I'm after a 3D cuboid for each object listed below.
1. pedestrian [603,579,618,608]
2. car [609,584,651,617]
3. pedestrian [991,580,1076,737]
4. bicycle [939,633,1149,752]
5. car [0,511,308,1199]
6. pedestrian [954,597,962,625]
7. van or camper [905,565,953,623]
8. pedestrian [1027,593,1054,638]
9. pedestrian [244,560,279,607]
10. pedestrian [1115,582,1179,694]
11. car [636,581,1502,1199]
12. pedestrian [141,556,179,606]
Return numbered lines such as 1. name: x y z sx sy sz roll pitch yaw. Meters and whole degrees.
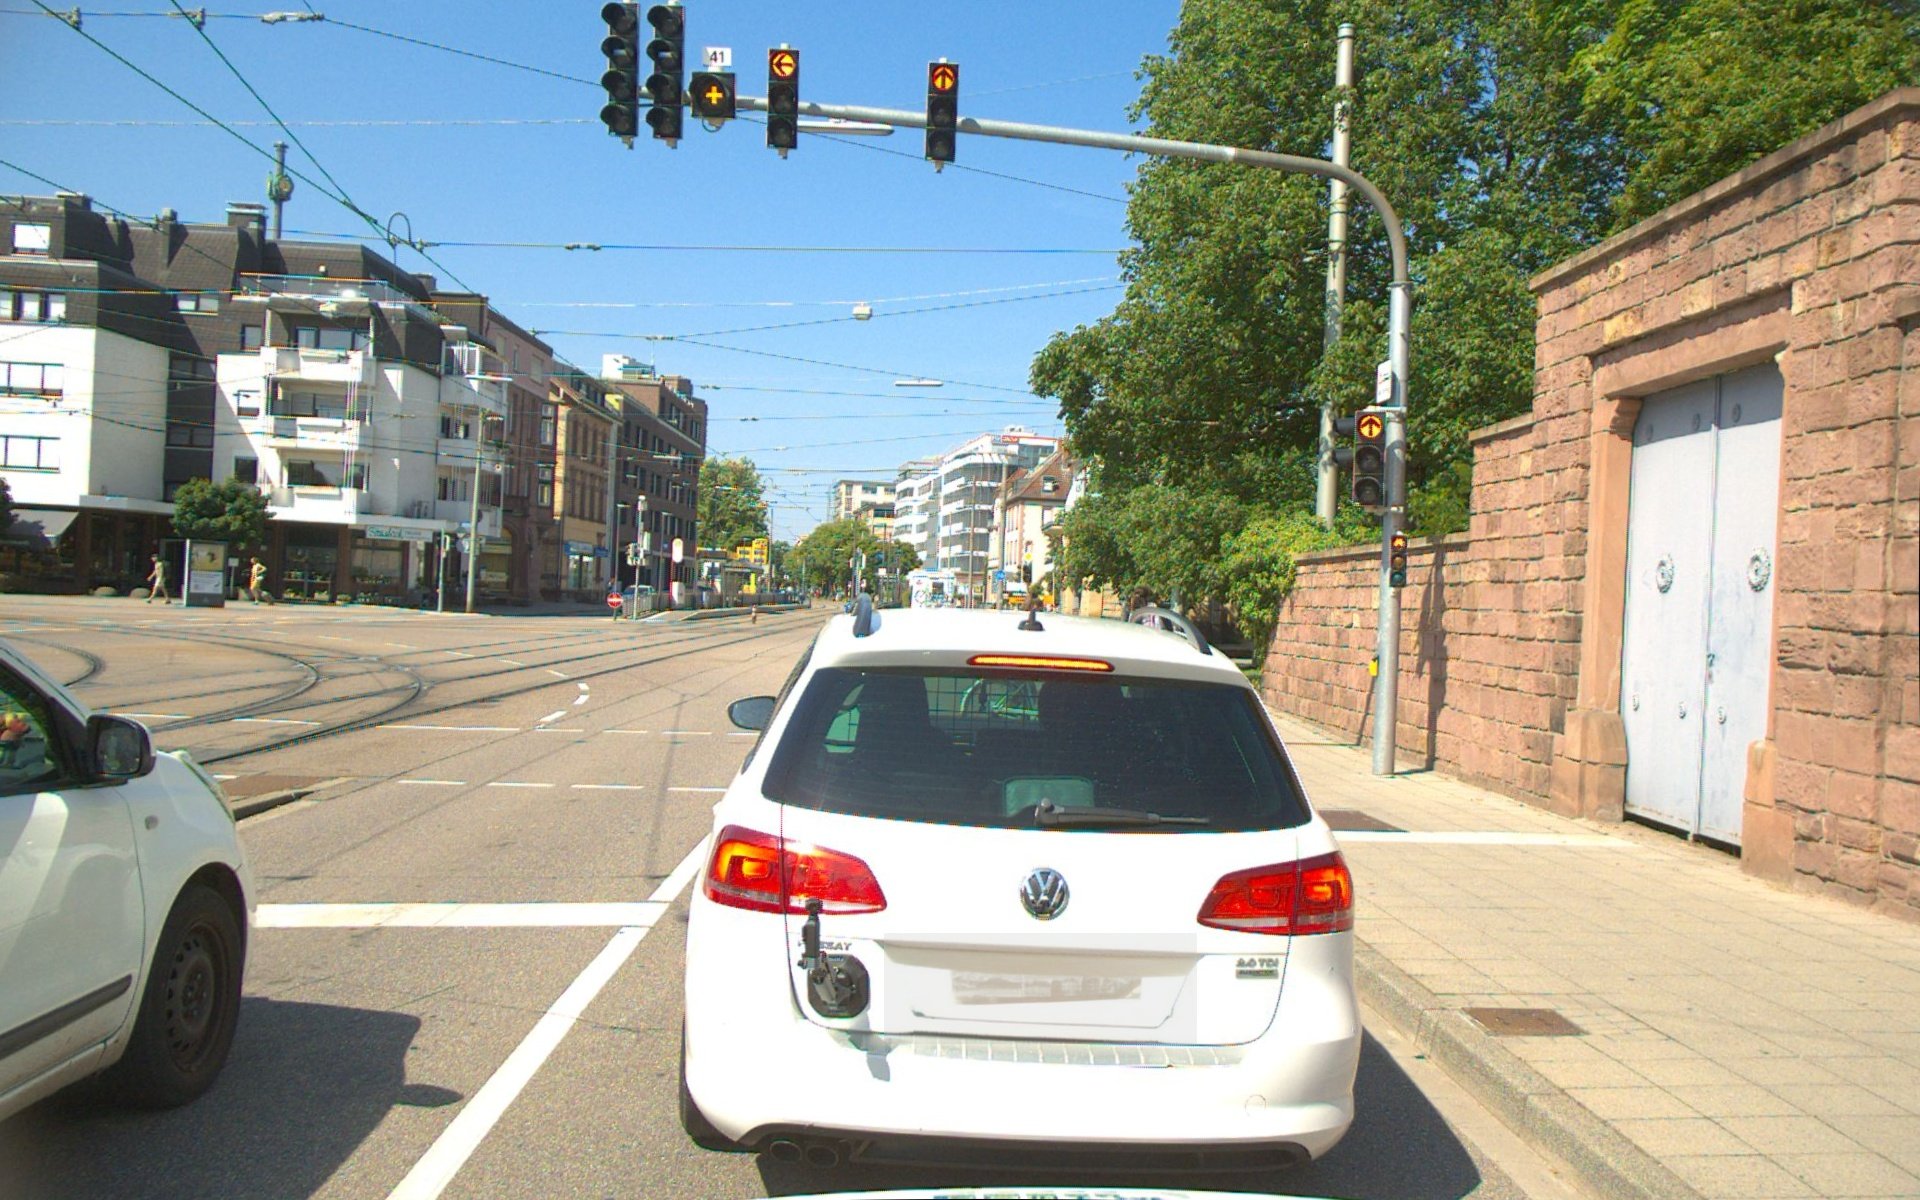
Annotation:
1. pedestrian: -22.064 -0.417 104.471 0.845 1.773 0.973 1 -1 -6
2. car: -17.555 0.047 88.135 1.706 1.646 3.996 0 -1 -4
3. pedestrian: 0.764 0.596 17.310 0.732 1.599 0.673 1 1 -12
4. bicycle: 0.844 0.932 16.756 1.983 1.109 0.708 2 0 -12
5. car: -2.836 0.603 3.307 1.608 1.593 3.803 1 1 -1
6. pedestrian: -0.194 0.938 142.919 0.675 2.366 1.232 0 -1 0
7. van or camper: -1.799 -0.274 93.549 2.515 3.147 5.699 0 -1 -3
8. pedestrian: 3.254 0.623 66.898 0.846 1.773 0.972 1 -1 -13
9. pedestrian: -26.832 -0.633 63.552 0.849 1.773 0.969 -1 -1 41
10. pedestrian: 2.848 0.578 25.281 0.932 1.680 0.975 0 -1 5
11. car: 0.194 0.717 5.446 1.771 1.473 3.999 2 0 -1
12. pedestrian: -28.747 -0.677 59.432 0.849 1.773 0.969 -1 -1 42
